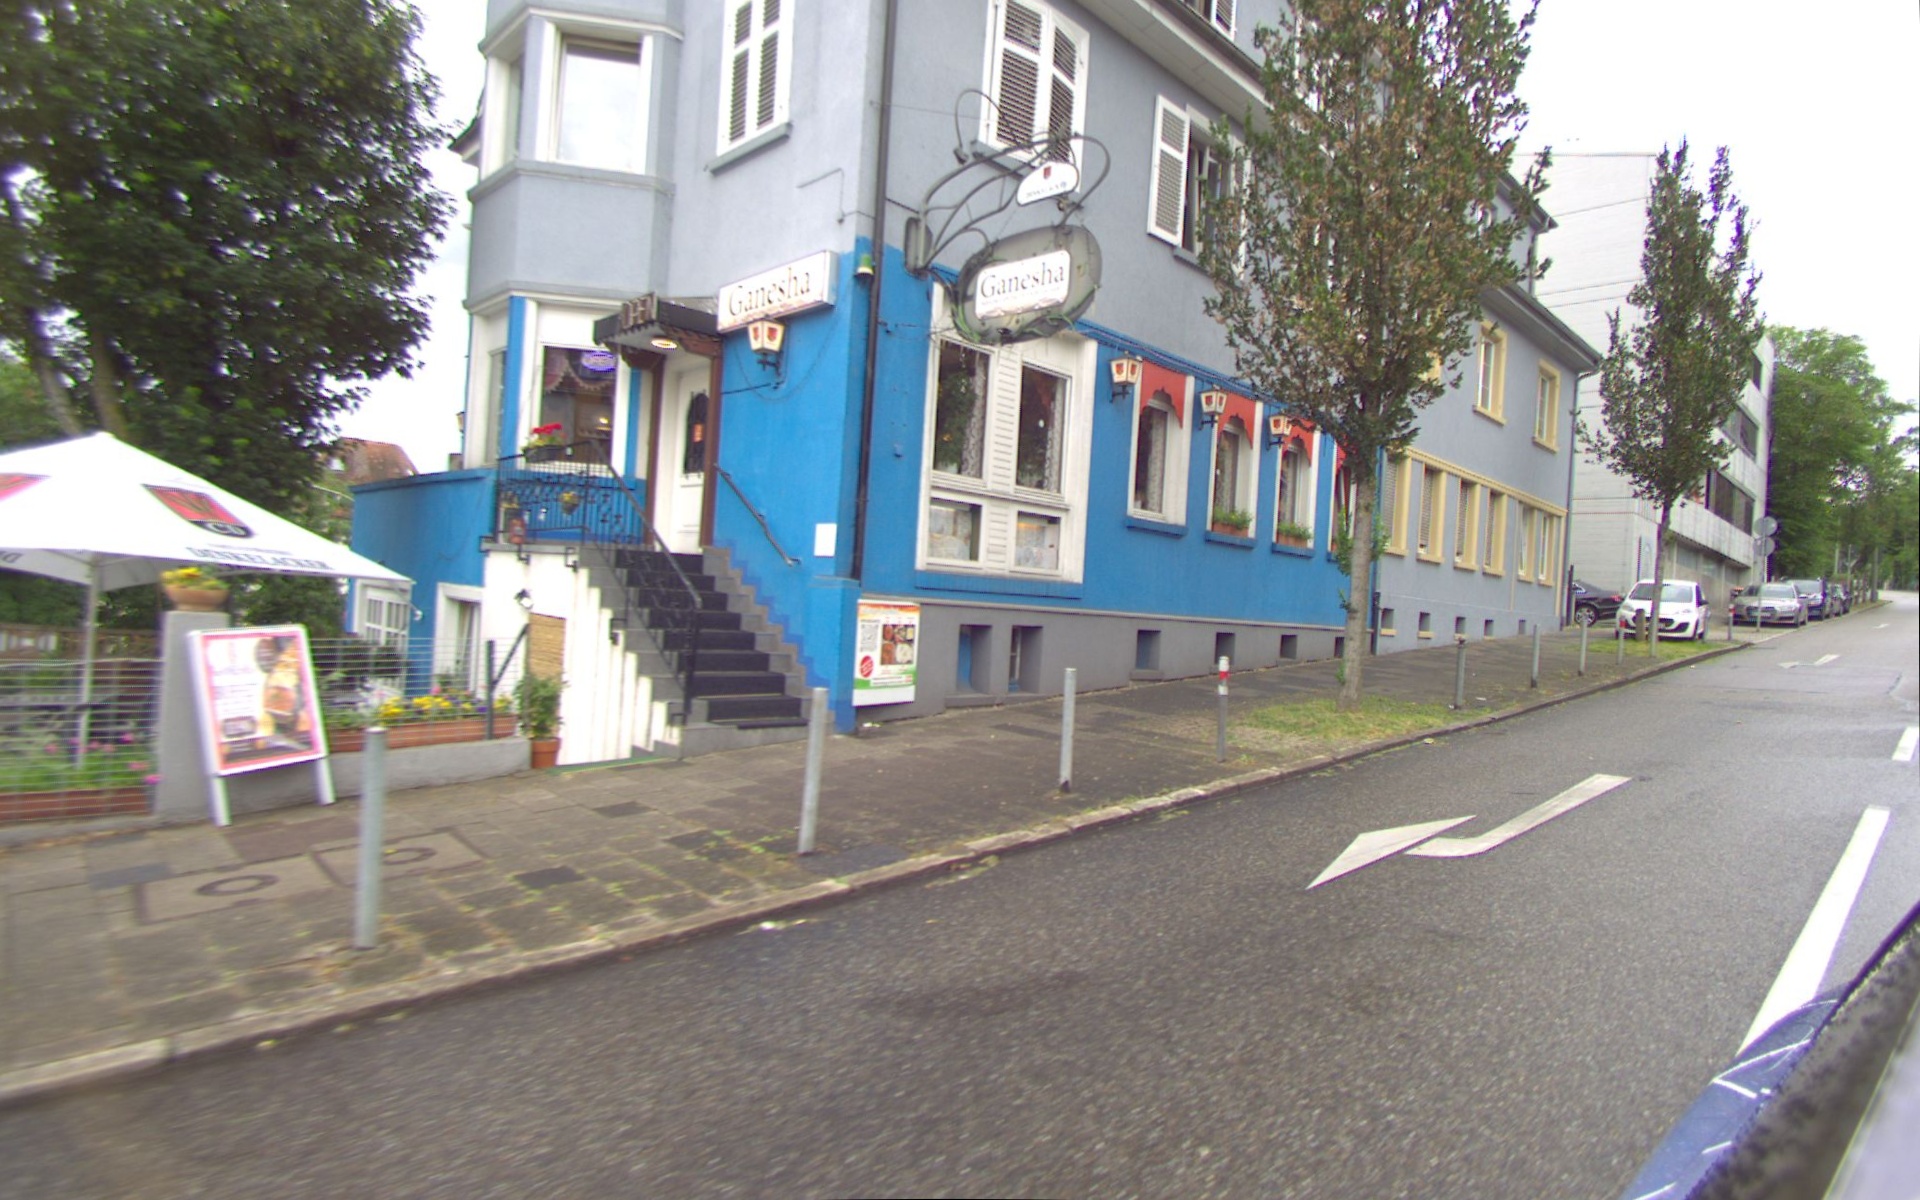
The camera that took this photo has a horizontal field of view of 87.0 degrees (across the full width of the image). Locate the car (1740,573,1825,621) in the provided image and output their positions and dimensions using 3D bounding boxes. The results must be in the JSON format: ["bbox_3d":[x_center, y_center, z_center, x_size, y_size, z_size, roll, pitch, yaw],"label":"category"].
[{"bbox_3d":[27.932,-0.149,34.316,1.815,1.477,4.667,3,3,44],"label":"car"}]

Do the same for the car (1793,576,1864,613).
[{"bbox_3d":[37.315,-0.272,43.452,4.026,1.462,1.710,-1,3,-41],"label":"car"}]

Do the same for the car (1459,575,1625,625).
[{"bbox_3d":[17.959,-0.042,31.392,4.333,1.424,1.789,1,2,31],"label":"car"}]

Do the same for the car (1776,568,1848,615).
[{"bbox_3d":[33.478,-0.388,39.717,4.274,1.695,1.746,-1,3,-45],"label":"car"}]

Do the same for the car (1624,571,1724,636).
[{"bbox_3d":[17.542,0.037,24.801,1.586,1.429,3.404,3,3,42],"label":"car"}]
